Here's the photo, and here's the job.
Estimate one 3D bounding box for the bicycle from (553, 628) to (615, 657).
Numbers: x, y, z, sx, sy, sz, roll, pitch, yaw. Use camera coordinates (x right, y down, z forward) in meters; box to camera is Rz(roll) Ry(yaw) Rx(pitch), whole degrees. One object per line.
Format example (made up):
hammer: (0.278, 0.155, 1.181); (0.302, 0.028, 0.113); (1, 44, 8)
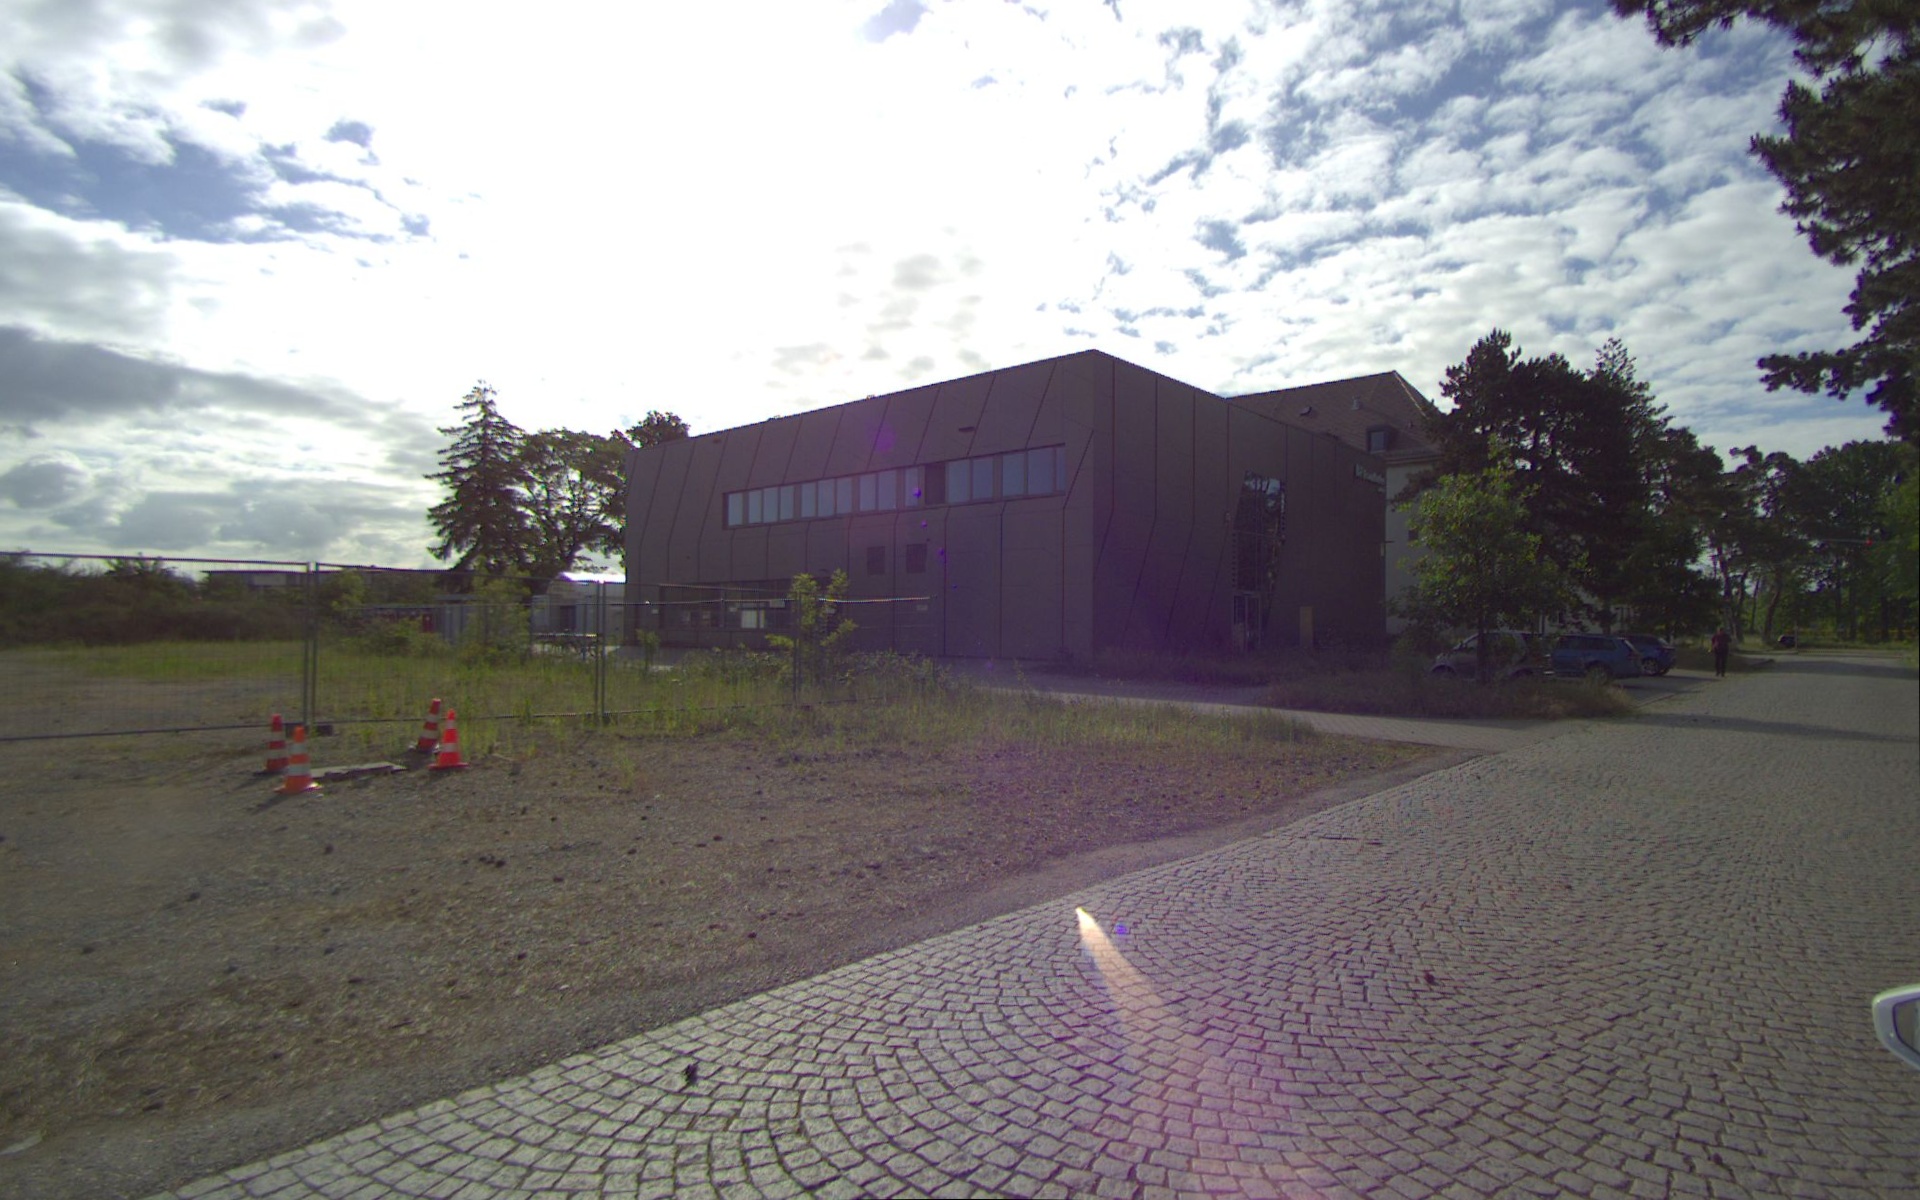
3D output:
bicycle: (-14.383, 1.608, 38.478); (0.932, 1.101, 2.060); (-1, -2, 40)

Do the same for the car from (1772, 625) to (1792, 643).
car: (94.886, 3.888, 115.937); (1.679, 2.040, 3.978); (-1, -2, 42)

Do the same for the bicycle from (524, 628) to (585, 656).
bicycle: (-16.099, 1.646, 39.900); (0.932, 1.058, 2.060); (-1, -2, 40)

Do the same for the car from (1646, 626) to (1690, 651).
car: (48.192, 2.613, 68.334); (1.972, 1.639, 3.978); (-1, -2, 42)

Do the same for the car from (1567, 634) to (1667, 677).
car: (24.353, 2.026, 37.251); (3.044, 1.469, 1.487); (-1, -2, 37)

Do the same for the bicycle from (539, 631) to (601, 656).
bicycle: (-15.261, 1.705, 39.350); (0.932, 0.934, 2.060); (-1, -2, 40)

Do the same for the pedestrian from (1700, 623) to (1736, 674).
pedestrian: (28.497, 1.812, 37.777); (0.941, 1.868, 0.954); (0, -1, 28)

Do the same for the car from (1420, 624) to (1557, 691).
car: (13.149, 1.399, 25.066); (1.415, 1.570, 2.734); (2, -2, -43)

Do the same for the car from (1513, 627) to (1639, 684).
car: (18.440, 1.625, 30.084); (3.045, 1.476, 1.486); (2, 0, 38)
